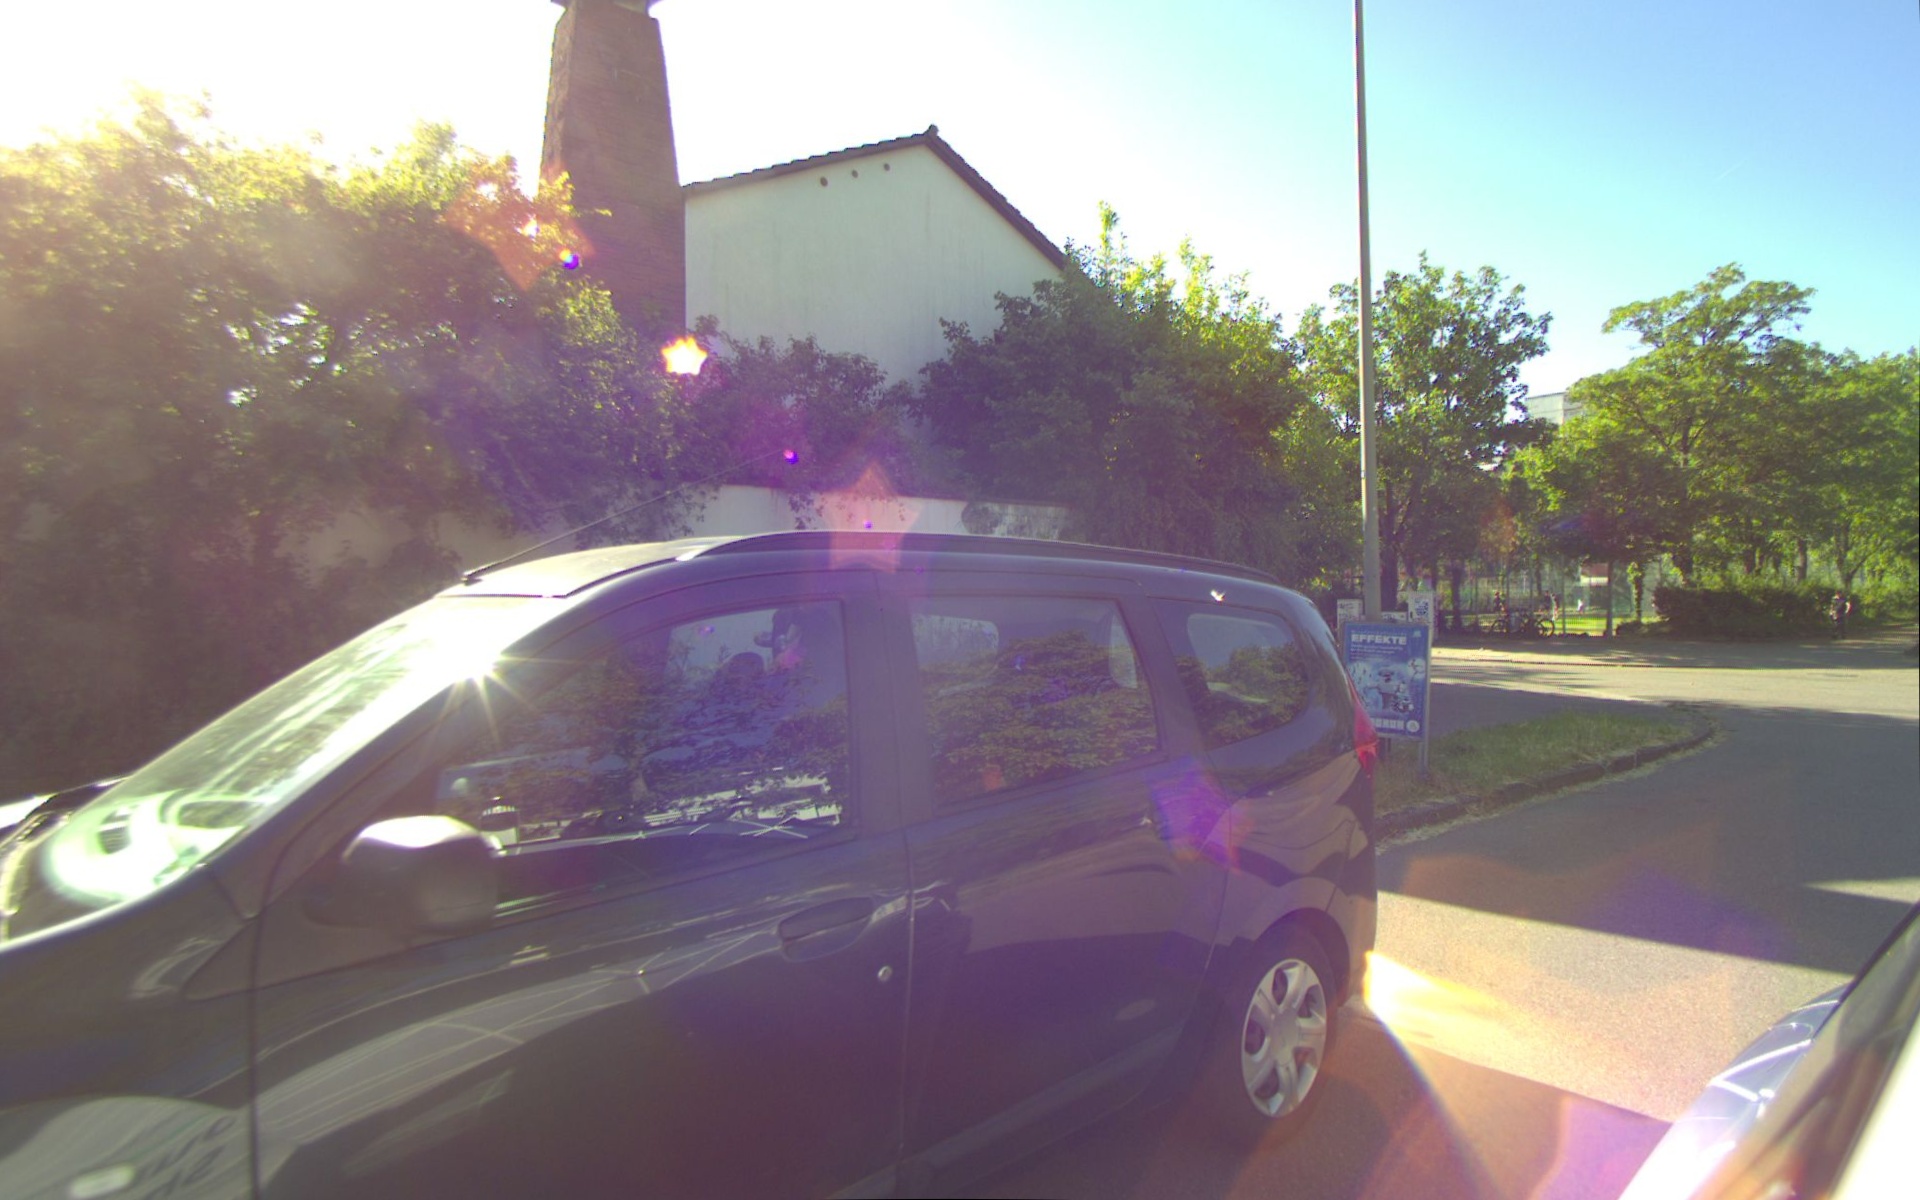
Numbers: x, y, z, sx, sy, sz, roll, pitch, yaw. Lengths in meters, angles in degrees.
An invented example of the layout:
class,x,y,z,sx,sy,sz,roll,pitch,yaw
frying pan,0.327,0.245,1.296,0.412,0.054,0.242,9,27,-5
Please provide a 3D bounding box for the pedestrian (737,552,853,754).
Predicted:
class,x,y,z,sx,sy,sz,roll,pitch,yaw
pedestrian,-1.407,0.411,8.647,0.779,1.629,0.574,-2,2,-41

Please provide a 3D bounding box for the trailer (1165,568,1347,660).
class,x,y,z,sx,sy,sz,roll,pitch,yaw
trailer,7.402,0.327,25.643,1.942,2.147,4.071,1,0,-38

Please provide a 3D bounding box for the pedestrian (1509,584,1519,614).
class,x,y,z,sx,sy,sz,roll,pitch,yaw
pedestrian,28.710,-0.049,52.468,0.395,1.555,0.317,0,-1,-42

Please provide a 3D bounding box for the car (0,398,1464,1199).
class,x,y,z,sx,sy,sz,roll,pitch,yaw
car,-0.578,0.613,2.618,4.274,1.677,1.729,0,0,-39

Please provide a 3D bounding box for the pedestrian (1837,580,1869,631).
class,x,y,z,sx,sy,sz,roll,pitch,yaw
pedestrian,29.222,0.181,33.126,0.629,1.659,0.642,0,-1,-35

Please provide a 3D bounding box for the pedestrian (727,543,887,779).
class,x,y,z,sx,sy,sz,roll,pitch,yaw
pedestrian,-1.215,0.424,8.054,0.967,1.738,0.805,-2,2,-41

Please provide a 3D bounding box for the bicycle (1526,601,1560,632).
class,x,y,z,sx,sy,sz,roll,pitch,yaw
bicycle,18.682,0.534,32.442,0.891,0.970,0.294,0,0,4

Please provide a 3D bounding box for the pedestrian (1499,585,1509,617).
class,x,y,z,sx,sy,sz,roll,pitch,yaw
pedestrian,26.948,0.036,50.097,0.386,1.555,0.320,0,-1,-42
